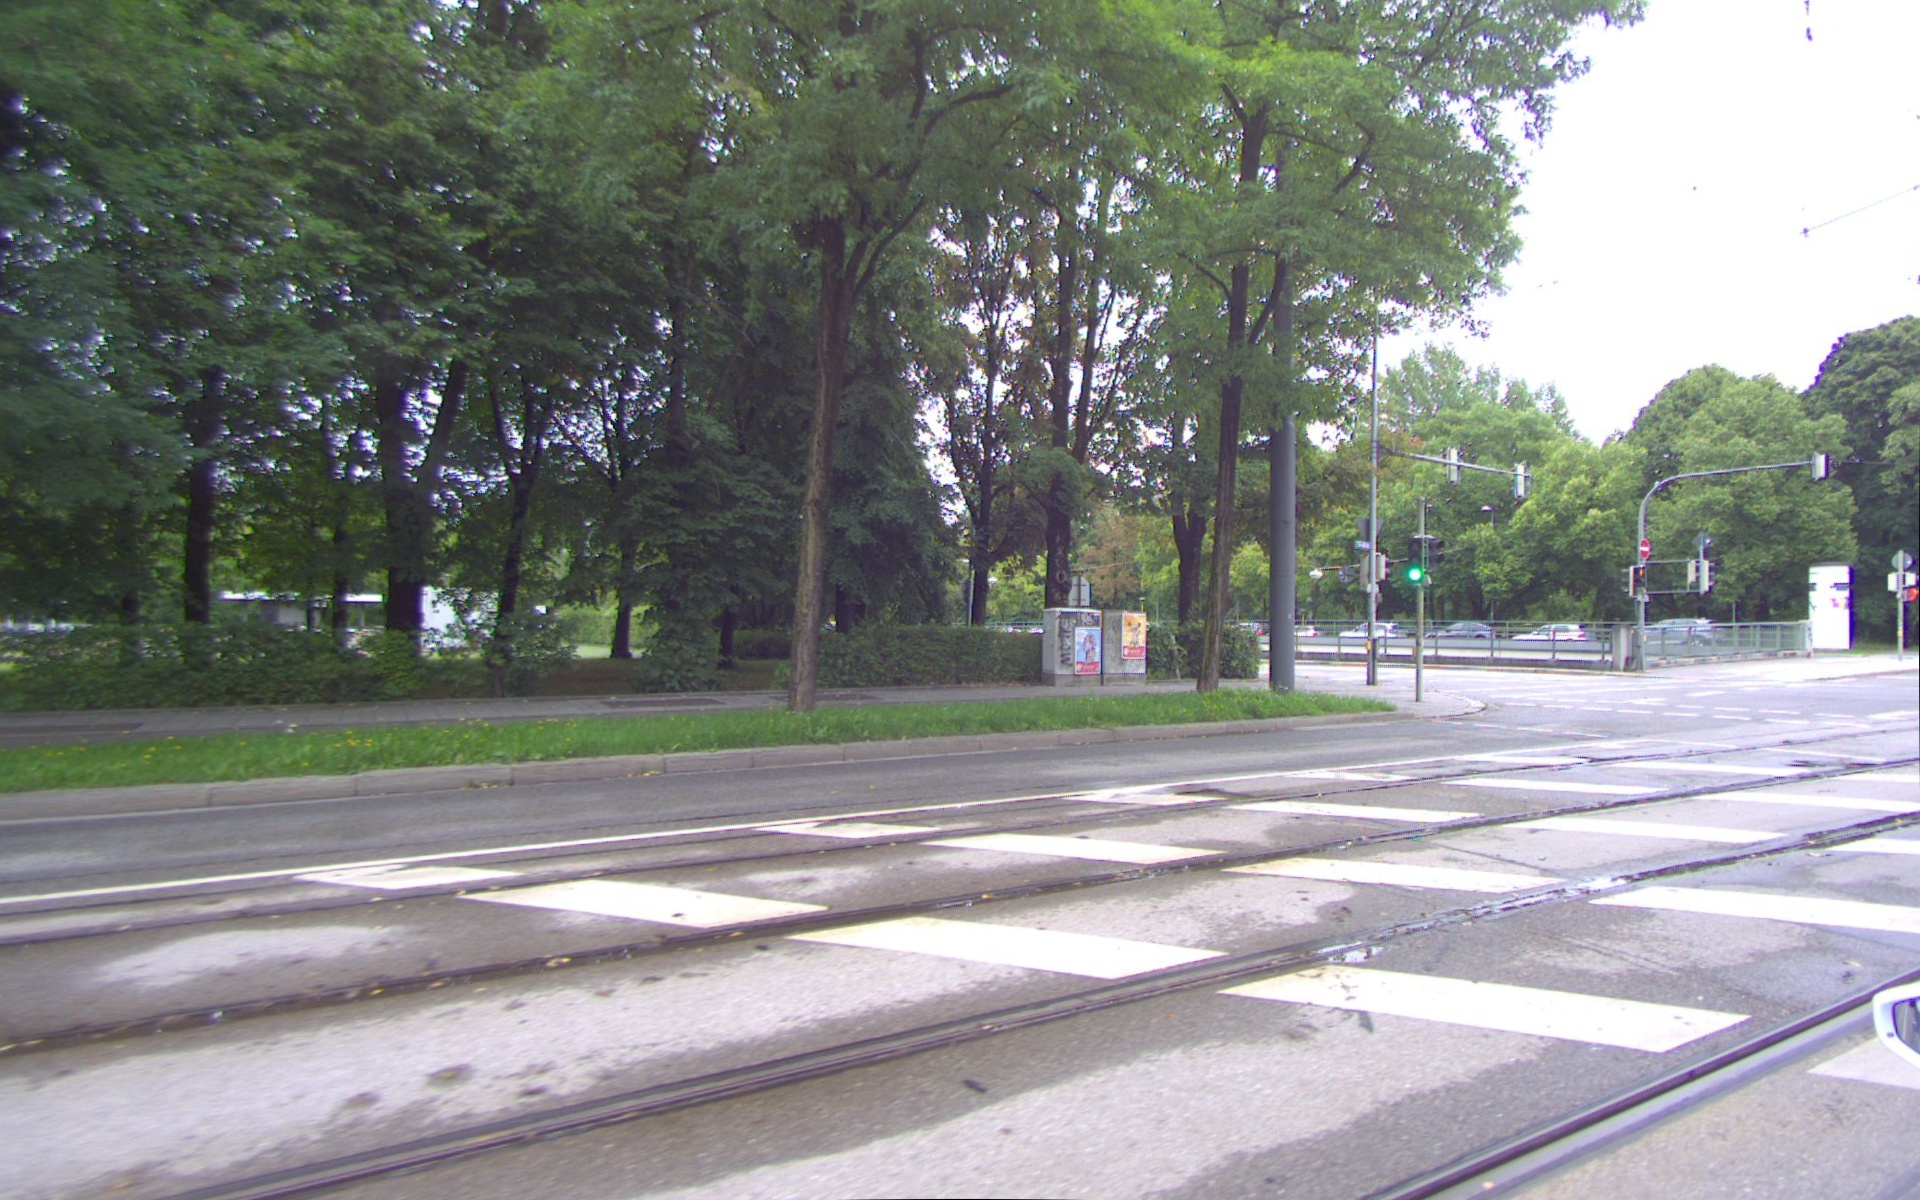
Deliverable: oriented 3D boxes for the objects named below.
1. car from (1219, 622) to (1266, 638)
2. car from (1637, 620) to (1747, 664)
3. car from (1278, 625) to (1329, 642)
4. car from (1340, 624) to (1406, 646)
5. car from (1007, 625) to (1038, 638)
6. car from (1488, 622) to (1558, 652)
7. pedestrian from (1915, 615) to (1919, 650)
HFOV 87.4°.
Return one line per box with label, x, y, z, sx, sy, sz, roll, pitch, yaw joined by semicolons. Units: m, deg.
car;19.992;2.095;71.131;1.238;0.985;3.090;1;0;-34
car;35.154;1.983;48.341;1.476;1.912;3.994;1;0;-36
car;22.903;2.256;67.085;1.238;0.985;3.090;1;0;-34
car;25.810;2.178;62.869;1.238;1.201;3.704;1;0;-34
car;5.763;2.910;92.788;1.238;0.985;3.090;1;0;-34
car;30.809;2.007;54.999;1.238;1.471;3.090;1;0;-34
pedestrian;41.952;1.404;43.589;0.580;1.521;0.530;1;1;-25
